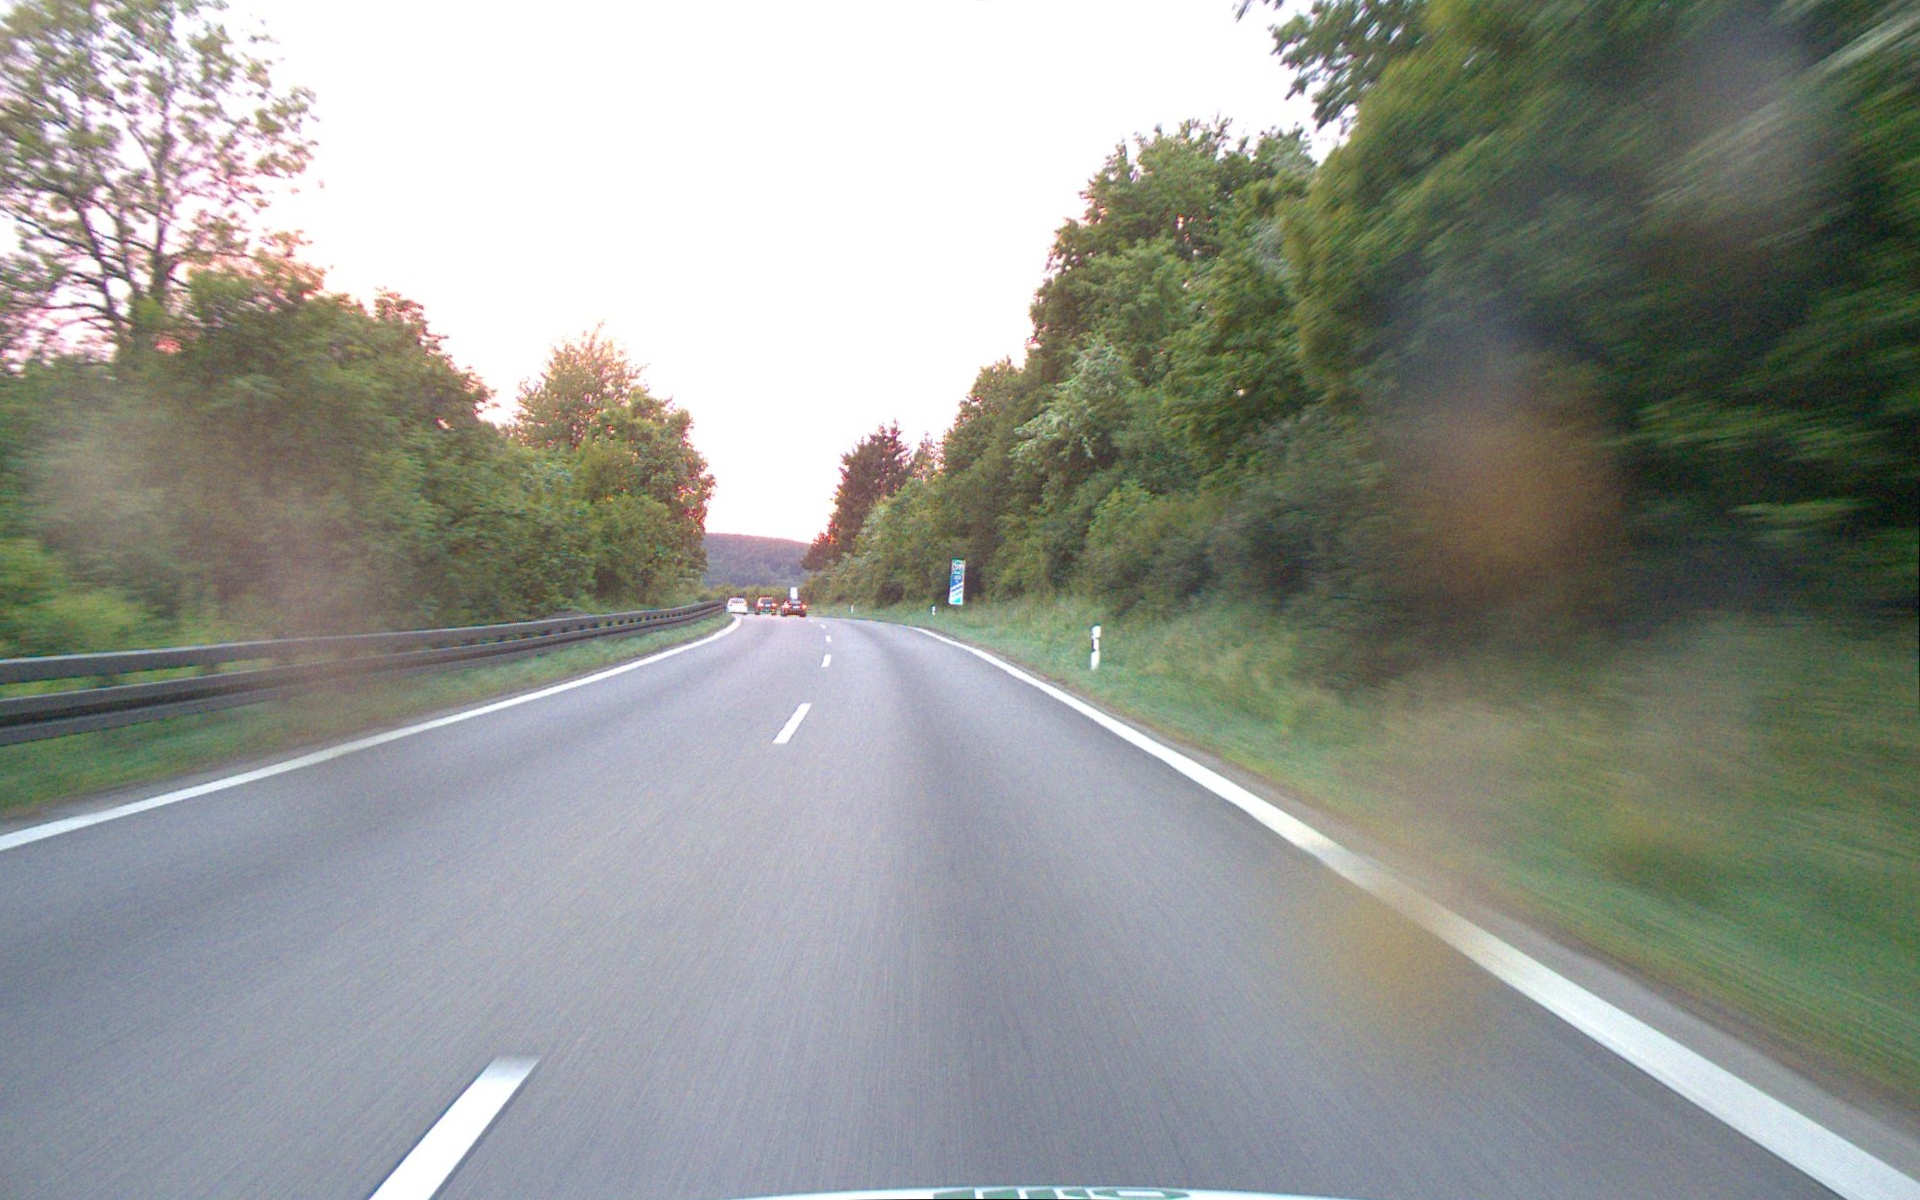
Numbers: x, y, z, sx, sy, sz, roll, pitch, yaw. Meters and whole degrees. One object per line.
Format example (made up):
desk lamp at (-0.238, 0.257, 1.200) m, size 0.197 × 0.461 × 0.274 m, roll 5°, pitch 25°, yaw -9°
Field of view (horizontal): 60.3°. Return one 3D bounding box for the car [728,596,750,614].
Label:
car at (-19.948, 0.472, 149.385) m, size 1.684 × 1.528 × 3.996 m, roll 2°, pitch -2°, yaw -4°

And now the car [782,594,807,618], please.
car at (-13.919, 0.528, 139.118) m, size 1.956 × 1.675 × 3.993 m, roll 4°, pitch -3°, yaw -7°

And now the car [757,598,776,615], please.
car at (-18.581, 0.616, 158.571) m, size 1.686 × 1.664 × 3.992 m, roll 0°, pitch -1°, yaw -8°
